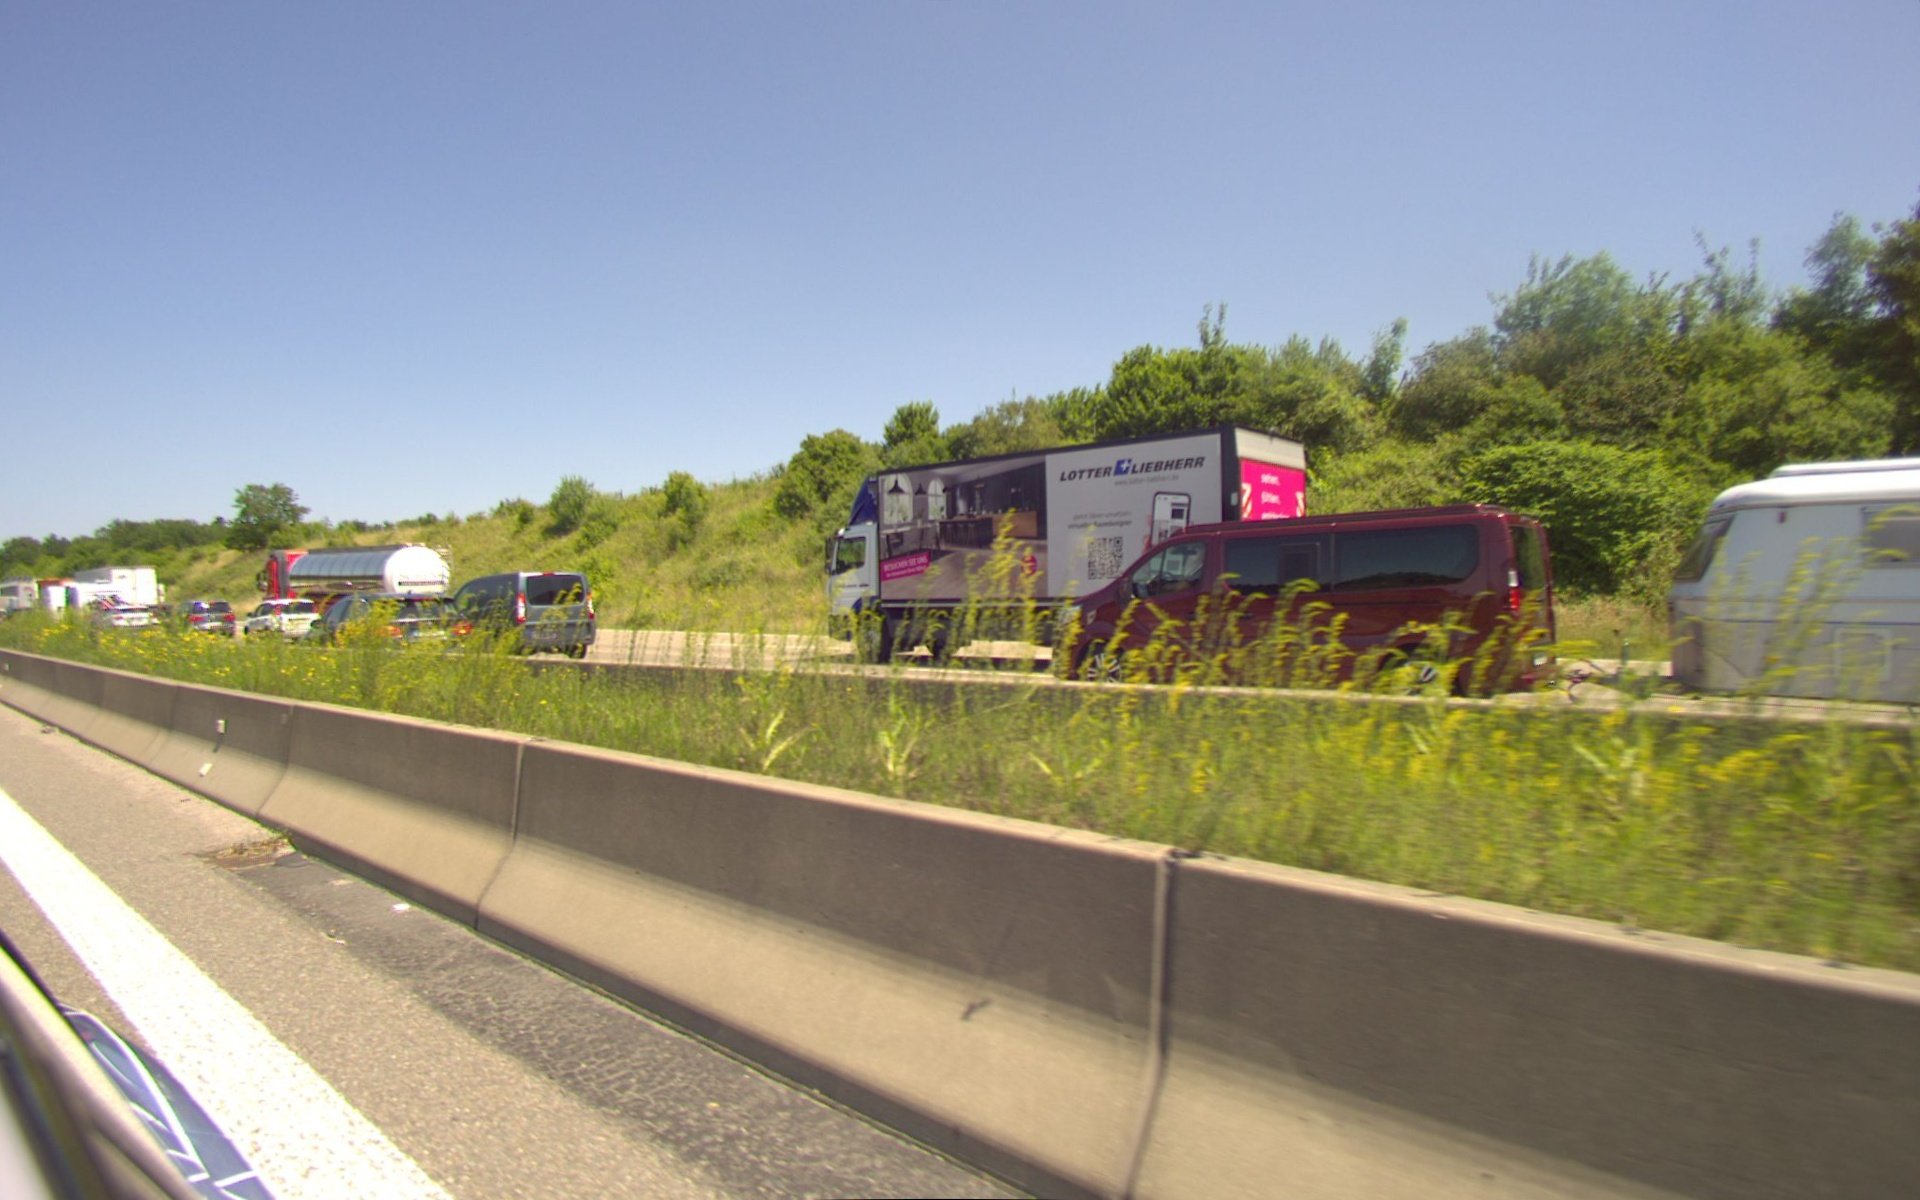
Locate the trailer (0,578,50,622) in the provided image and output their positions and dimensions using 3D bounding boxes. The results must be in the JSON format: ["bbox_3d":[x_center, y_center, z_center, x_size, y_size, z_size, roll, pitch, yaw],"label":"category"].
[{"bbox_3d":[-94.568,-0.007,101.884,12.245,4.063,2.752,0,2,41],"label":"trailer"}]

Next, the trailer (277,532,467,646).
[{"bbox_3d":[-23.802,-0.376,40.467,12.268,3.979,2.652,-1,1,41],"label":"trailer"}]

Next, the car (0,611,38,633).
[{"bbox_3d":[-73.296,1.676,78.627,4.880,1.599,1.800,0,1,41],"label":"car"}]

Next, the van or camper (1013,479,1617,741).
[{"bbox_3d":[3.535,0.091,11.094,5.951,2.169,1.973,0,0,41],"label":"van or camper"}]

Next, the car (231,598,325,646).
[{"bbox_3d":[-24.007,0.749,35.572,4.187,1.561,1.736,0,1,41],"label":"car"}]

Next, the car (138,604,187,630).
[{"bbox_3d":[-50.042,1.059,63.498,3.925,1.508,1.676,0,1,41],"label":"car"}]

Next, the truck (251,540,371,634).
[{"bbox_3d":[-28.779,-0.578,44.804,6.029,3.851,2.754,0,2,41],"label":"truck"}]

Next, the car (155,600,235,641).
[{"bbox_3d":[-32.296,0.824,42.662,4.783,1.595,1.736,0,1,41],"label":"car"}]

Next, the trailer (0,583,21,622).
[{"bbox_3d":[-110.563,0.290,116.229,10.787,4.271,2.761,0,2,41],"label":"trailer"}]

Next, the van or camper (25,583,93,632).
[{"bbox_3d":[-58.800,0.479,65.990,7.827,2.959,2.517,0,1,43],"label":"van or camper"}]

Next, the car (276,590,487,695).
[{"bbox_3d":[-10.377,0.669,17.993,4.852,1.595,1.736,0,1,41],"label":"car"}]

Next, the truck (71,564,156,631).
[{"bbox_3d":[-60.151,-0.186,71.751,12.415,4.357,2.495,0,2,41],"label":"truck"}]

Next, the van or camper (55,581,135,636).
[{"bbox_3d":[-50.213,0.439,58.666,8.130,2.959,2.517,0,1,43],"label":"van or camper"}]

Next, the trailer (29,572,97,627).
[{"bbox_3d":[-76.444,0.000,86.141,11.993,4.342,2.585,0,2,41],"label":"trailer"}]

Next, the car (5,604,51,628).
[{"bbox_3d":[-66.918,1.137,72.648,4.880,1.599,1.800,0,1,41],"label":"car"}]

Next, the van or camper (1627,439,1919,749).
[{"bbox_3d":[7.822,-0.051,7.399,4.715,2.169,1.973,0,0,41],"label":"van or camper"}]

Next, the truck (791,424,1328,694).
[{"bbox_3d":[1.175,-0.578,18.140,9.933,3.702,2.518,0,1,41],"label":"truck"}]

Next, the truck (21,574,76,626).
[{"bbox_3d":[-81.535,-0.022,90.475,7.287,4.357,2.563,0,2,40],"label":"truck"}]

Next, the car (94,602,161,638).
[{"bbox_3d":[-41.418,0.979,50.314,4.356,1.639,1.863,0,1,41],"label":"car"}]

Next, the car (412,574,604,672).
[{"bbox_3d":[-10.310,0.459,22.887,5.092,1.972,2.003,0,1,41],"label":"car"}]
